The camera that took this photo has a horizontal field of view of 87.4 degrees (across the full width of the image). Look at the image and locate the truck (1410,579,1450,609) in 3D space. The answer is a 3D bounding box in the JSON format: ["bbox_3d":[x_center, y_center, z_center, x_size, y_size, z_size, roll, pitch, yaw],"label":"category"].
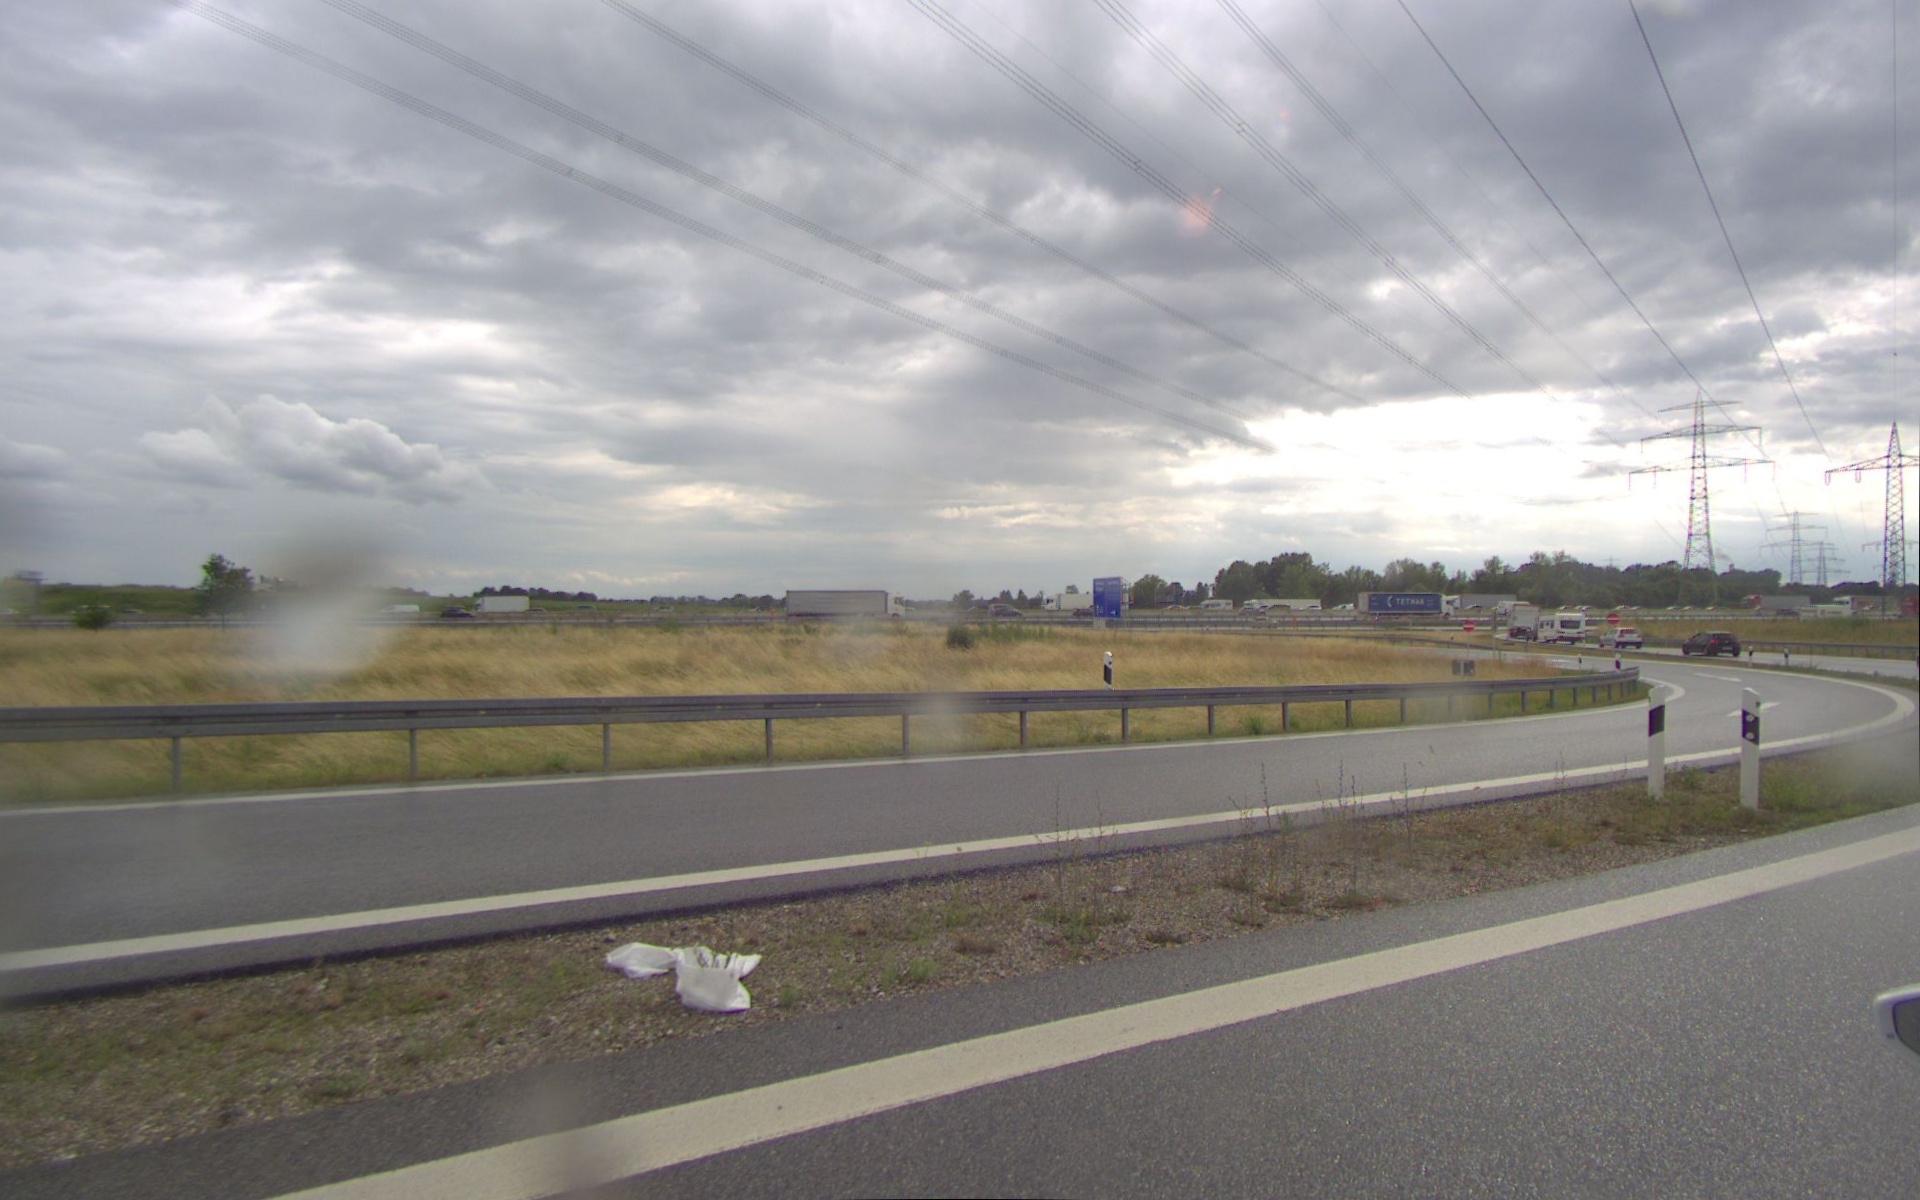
[{"bbox_3d":[76.003,-0.969,162.517,4.988,4.540,3.068,-2,1,-16],"label":"truck"}]

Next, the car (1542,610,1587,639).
[{"bbox_3d":[52.424,2.106,87.267,2.312,2.338,5.127,-1,1,19],"label":"car"}]

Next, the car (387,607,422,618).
[{"bbox_3d":[-80.248,1.859,145.050,3.929,1.412,1.996,-2,1,-11],"label":"car"}]

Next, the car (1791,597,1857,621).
[{"bbox_3d":[134.345,1.393,156.240,8.894,3.658,3.384,0,0,-15],"label":"car"}]

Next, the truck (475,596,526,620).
[{"bbox_3d":[-72.589,1.228,158.899,6.987,3.517,1.994,-2,1,-14],"label":"truck"}]

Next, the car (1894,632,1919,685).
[{"bbox_3d":[39.296,2.383,39.509,2.088,2.045,5.529,-1,0,25],"label":"car"}]

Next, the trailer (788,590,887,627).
[{"bbox_3d":[-16.974,1.122,139.260,13.165,4.679,3.474,-2,1,-14],"label":"trailer"}]

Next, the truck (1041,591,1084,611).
[{"bbox_3d":[18.541,0.164,182.050,7.253,3.588,2.817,0,0,-14],"label":"truck"}]

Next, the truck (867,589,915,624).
[{"bbox_3d":[-9.752,0.867,141.094,6.162,4.627,3.341,-2,1,-15],"label":"truck"}]

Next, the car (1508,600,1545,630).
[{"bbox_3d":[60.741,1.560,107.623,3.091,2.991,7.190,-1,1,32],"label":"car"}]

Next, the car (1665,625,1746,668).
[{"bbox_3d":[45.631,2.798,61.615,2.312,2.338,5.129,-1,1,16],"label":"car"}]

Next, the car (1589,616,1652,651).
[{"bbox_3d":[49.795,2.520,75.851,2.311,2.338,5.130,-1,1,13],"label":"car"}]

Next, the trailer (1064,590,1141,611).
[{"bbox_3d":[26.119,0.108,184.060,13.862,3.720,2.851,0,0,-14],"label":"trailer"}]

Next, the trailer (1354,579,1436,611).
[{"bbox_3d":[69.608,-0.761,160.703,13.078,4.698,3.048,-2,1,-15],"label":"trailer"}]
